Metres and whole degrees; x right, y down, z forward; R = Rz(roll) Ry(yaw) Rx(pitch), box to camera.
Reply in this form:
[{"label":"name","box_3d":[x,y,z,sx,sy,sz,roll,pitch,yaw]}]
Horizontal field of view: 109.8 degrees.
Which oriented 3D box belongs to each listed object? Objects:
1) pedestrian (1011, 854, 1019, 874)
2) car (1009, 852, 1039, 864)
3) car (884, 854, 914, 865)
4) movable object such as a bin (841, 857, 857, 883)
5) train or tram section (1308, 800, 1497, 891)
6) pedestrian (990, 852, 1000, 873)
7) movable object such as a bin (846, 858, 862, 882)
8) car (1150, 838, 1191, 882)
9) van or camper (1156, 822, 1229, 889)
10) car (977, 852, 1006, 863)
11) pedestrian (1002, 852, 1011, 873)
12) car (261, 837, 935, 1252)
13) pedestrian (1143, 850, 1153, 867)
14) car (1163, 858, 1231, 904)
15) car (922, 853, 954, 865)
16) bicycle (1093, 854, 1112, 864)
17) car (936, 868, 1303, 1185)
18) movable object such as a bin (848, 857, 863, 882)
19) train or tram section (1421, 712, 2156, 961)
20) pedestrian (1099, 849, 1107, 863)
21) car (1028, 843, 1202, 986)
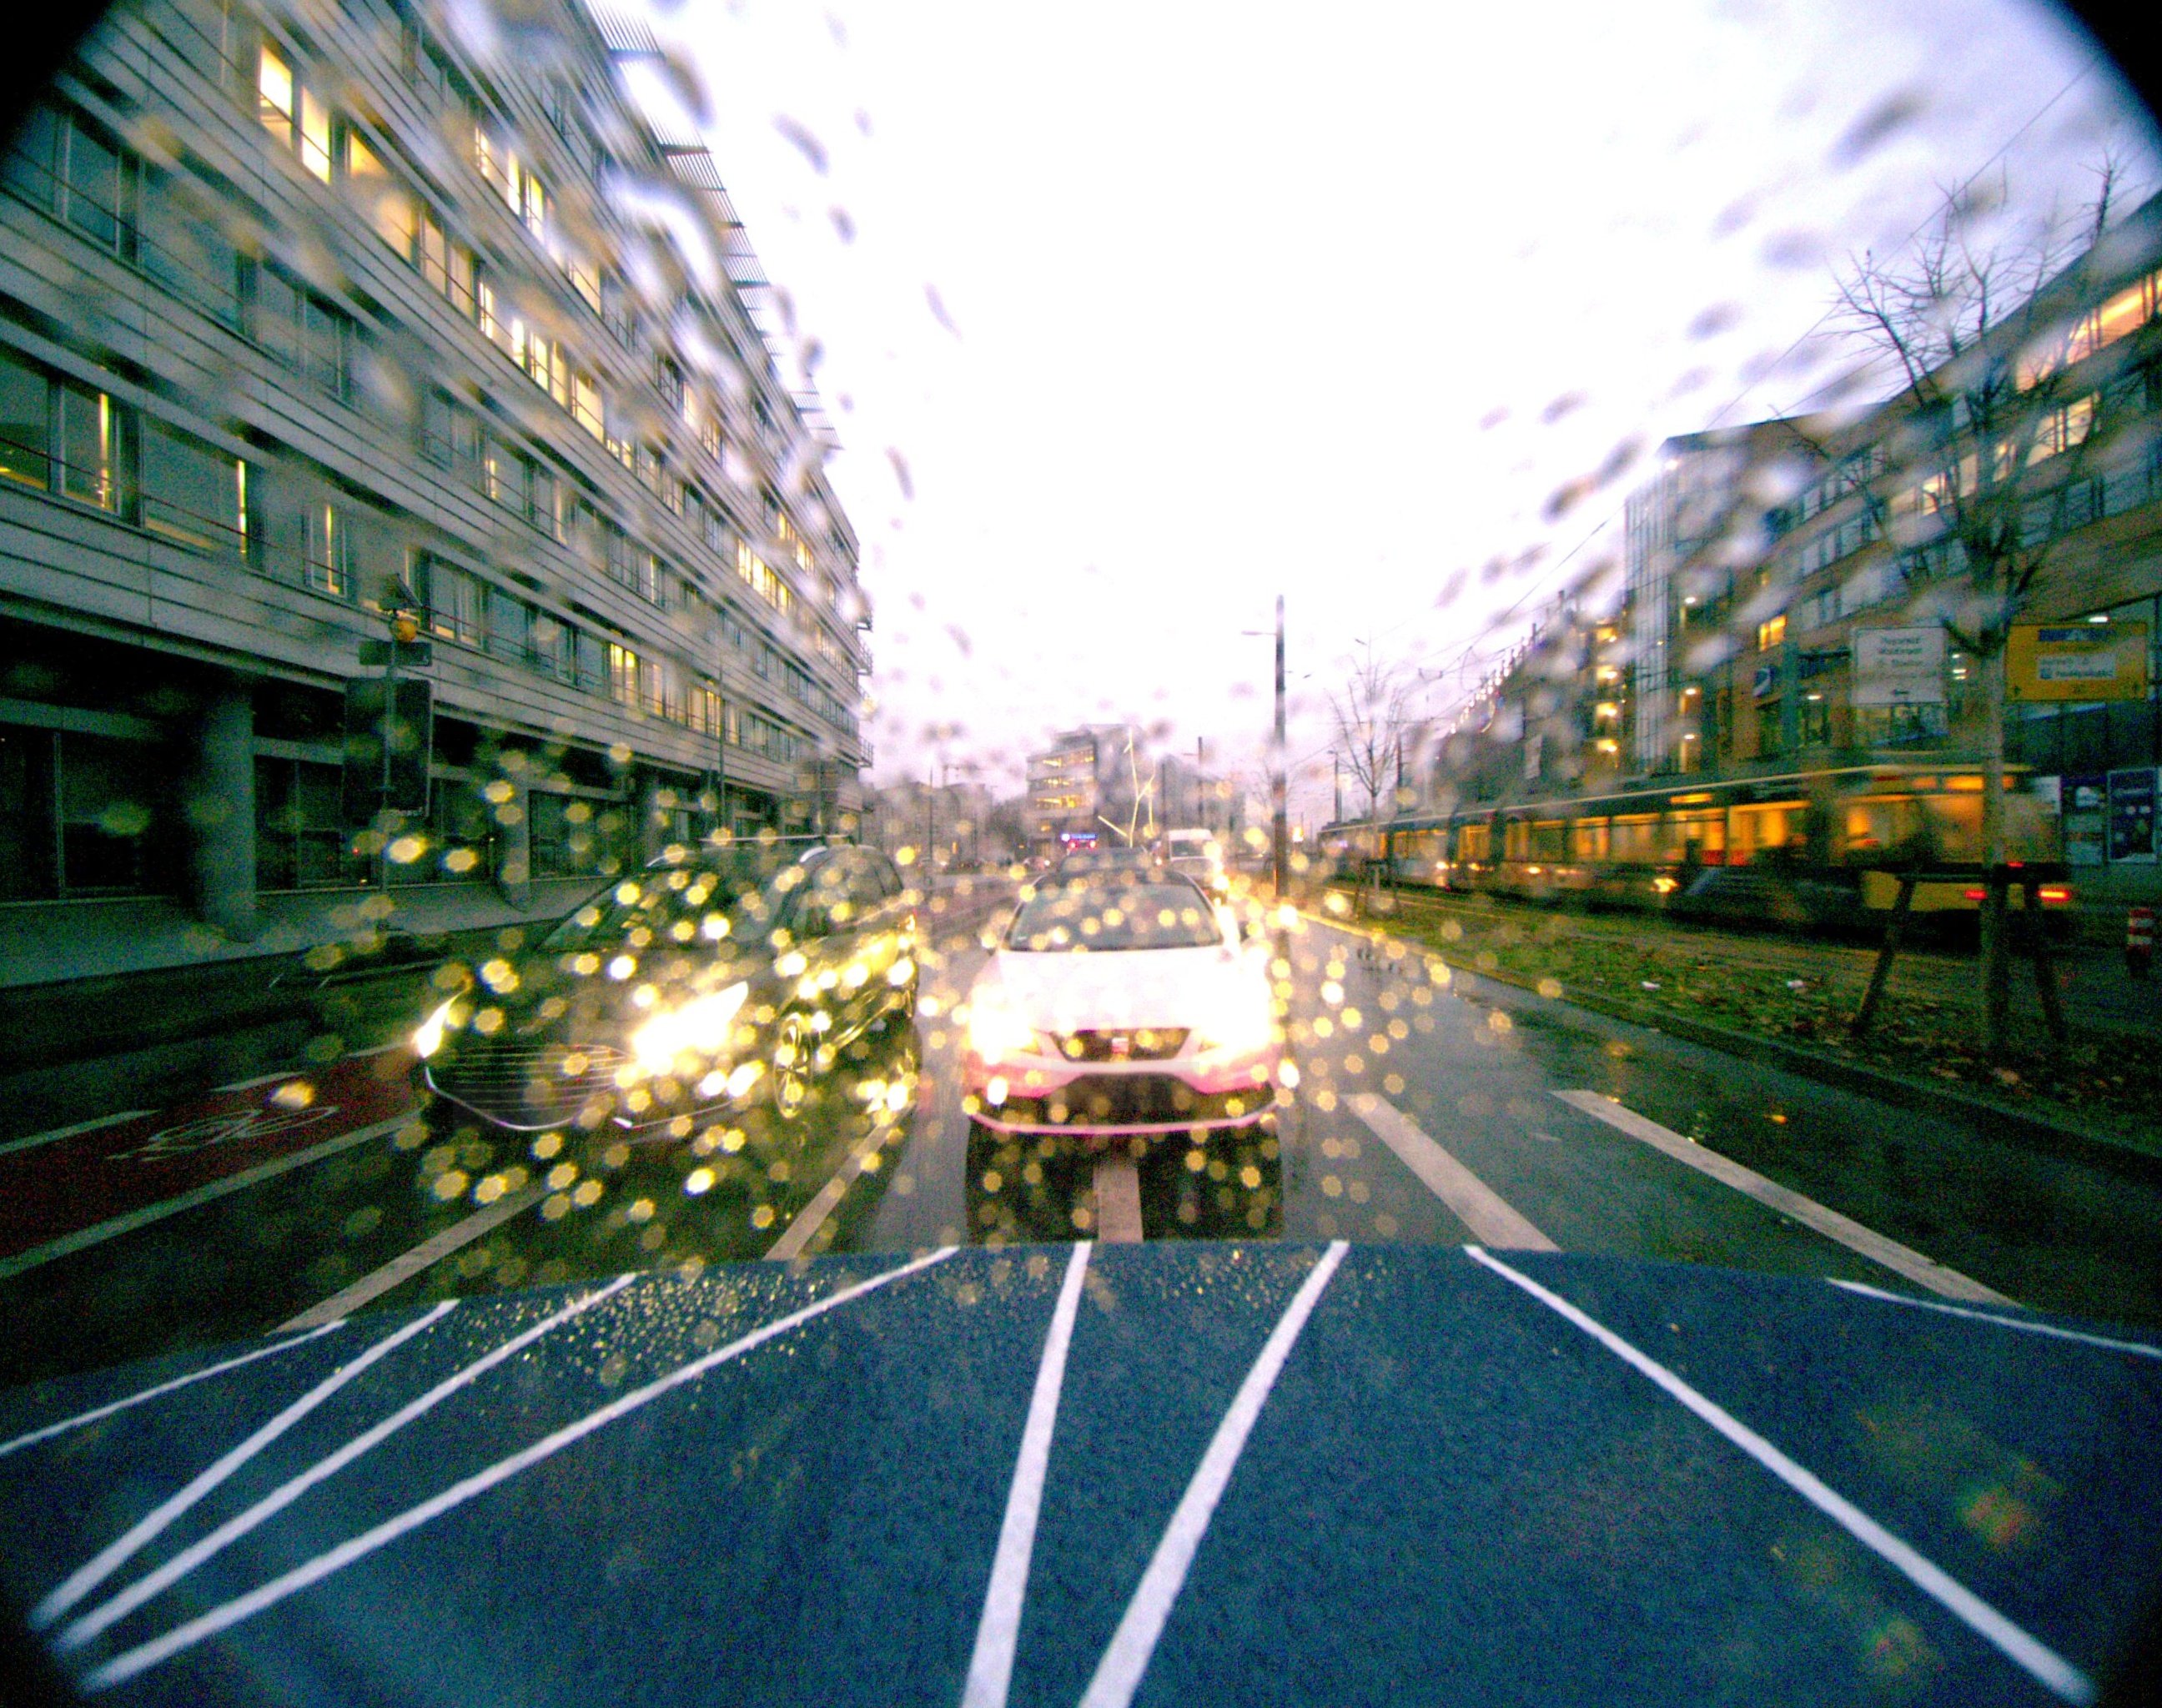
[{"label":"pedestrian","box_3d":[-5.455,0.825,63.029,0.616,1.659,0.884,1,1,-3]},{"label":"car","box_3d":[-8.148,0.535,109.499,3.918,1.699,1.782,-1,1,15]},{"label":"car","box_3d":[-27.834,0.837,116.076,3.996,1.663,2.002,-1,1,17]},{"label":"movable object such as a bin","box_3d":[-13.250,0.911,43.387,0.666,1.420,0.840,-1,1,-2]},{"label":"train or tram section","box_3d":[15.747,-0.385,40.166,2.871,3.593,20.075,0,0,4]},{"label":"pedestrian","box_3d":[-7.192,0.699,63.617,0.747,1.692,0.969,2,1,-3]},{"label":"movable object such as a bin","box_3d":[-13.245,0.925,44.284,0.666,1.420,0.840,-1,1,-2]},{"label":"car","box_3d":[6.157,0.380,52.748,2.129,2.847,5.813,-1,0,0]},{"label":"van or camper","box_3d":[4.526,0.060,31.799,2.153,2.517,5.898,-1,0,0]},{"label":"car","box_3d":[-13.014,0.563,110.686,3.759,1.528,1.782,0,0,17]},{"label":"pedestrian","box_3d":[-6.189,0.672,62.993,0.651,1.692,0.884,1,1,-3]},{"label":"car","box_3d":[-2.606,0.851,5.715,1.887,1.800,4.671,-2,0,2]},{"label":"pedestrian","box_3d":[7.782,0.523,87.798,1.119,2.002,1.033,0,1,5]},{"label":"car","box_3d":[3.617,0.810,24.377,1.759,1.337,4.058,-1,-1,3]},{"label":"car","box_3d":[-21.395,0.714,113.716,4.368,1.750,2.002,-1,1,17]},{"label":"bicycle","box_3d":[2.700,0.616,95.662,2.207,1.182,0.667,0,1,-16]},{"label":"car","box_3d":[0.216,0.890,5.712,1.782,1.464,3.943,-1,0,1]},{"label":"movable object such as a bin","box_3d":[-13.409,0.929,45.214,0.666,1.468,0.840,-1,1,-2]},{"label":"train or tram section","box_3d":[14.555,-0.307,20.657,2.871,3.593,19.215,0,0,3]},{"label":"pedestrian","box_3d":[2.734,0.283,95.674,0.894,1.783,0.667,0,1,-16]},{"label":"car","box_3d":[0.461,0.736,11.944,2.169,1.744,4.541,-2,1,1]}]
